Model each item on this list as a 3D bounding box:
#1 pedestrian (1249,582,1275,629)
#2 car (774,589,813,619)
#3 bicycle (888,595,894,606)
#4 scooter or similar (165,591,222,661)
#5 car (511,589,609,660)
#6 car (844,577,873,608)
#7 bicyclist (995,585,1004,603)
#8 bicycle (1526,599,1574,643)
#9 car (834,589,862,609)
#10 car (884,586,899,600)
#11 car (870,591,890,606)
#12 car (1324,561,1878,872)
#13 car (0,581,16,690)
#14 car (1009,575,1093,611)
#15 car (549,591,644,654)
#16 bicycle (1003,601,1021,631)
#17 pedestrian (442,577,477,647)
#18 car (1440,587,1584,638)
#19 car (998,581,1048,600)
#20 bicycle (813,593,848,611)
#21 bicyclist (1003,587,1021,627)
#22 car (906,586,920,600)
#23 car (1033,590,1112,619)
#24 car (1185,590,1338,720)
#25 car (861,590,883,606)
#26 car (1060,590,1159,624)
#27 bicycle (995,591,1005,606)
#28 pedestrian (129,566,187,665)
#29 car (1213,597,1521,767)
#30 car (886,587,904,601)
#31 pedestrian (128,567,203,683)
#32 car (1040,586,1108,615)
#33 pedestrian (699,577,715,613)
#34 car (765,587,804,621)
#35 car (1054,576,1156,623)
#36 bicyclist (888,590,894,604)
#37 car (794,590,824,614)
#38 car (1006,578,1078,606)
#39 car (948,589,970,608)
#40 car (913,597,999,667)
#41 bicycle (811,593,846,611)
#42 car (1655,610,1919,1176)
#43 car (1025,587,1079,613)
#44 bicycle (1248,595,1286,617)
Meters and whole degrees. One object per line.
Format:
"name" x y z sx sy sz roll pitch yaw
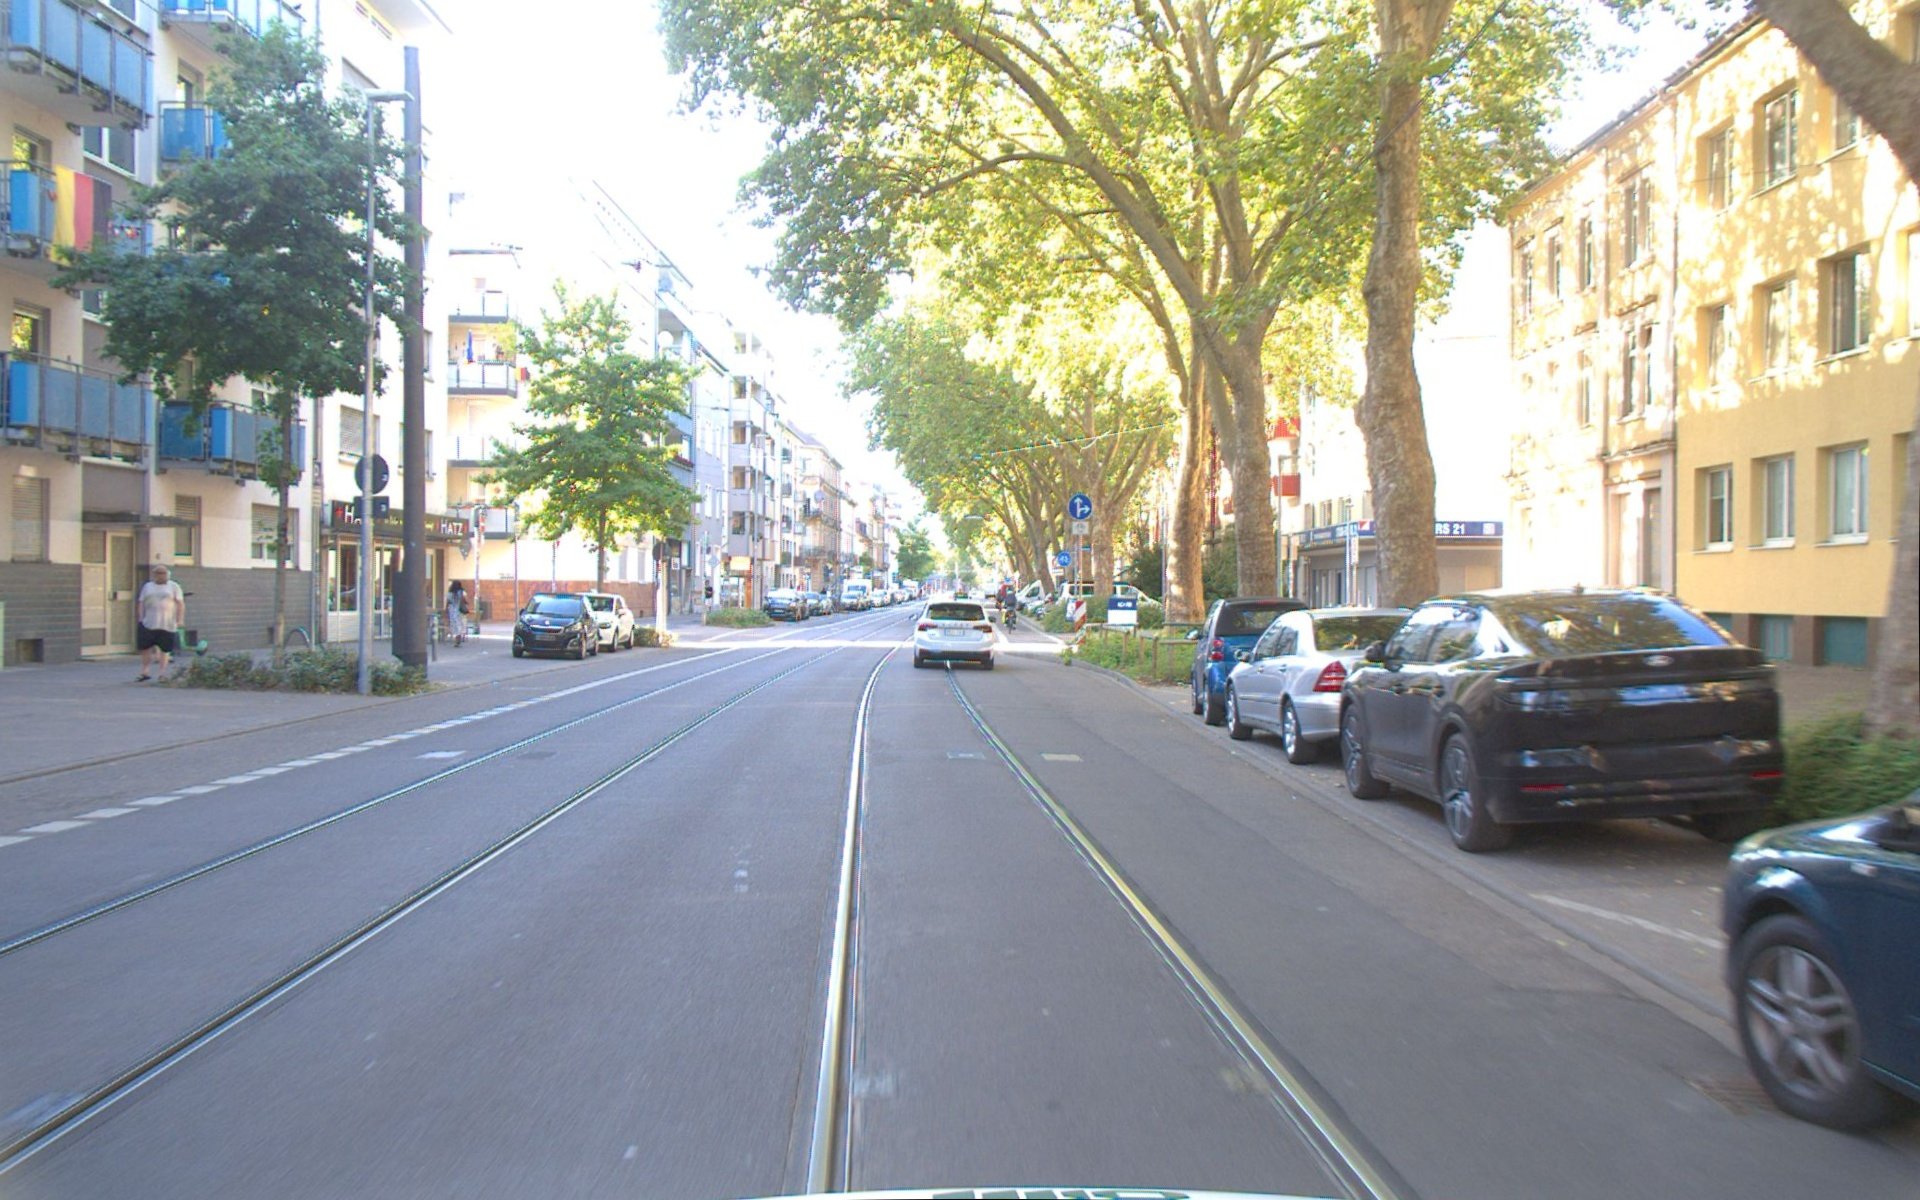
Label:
"pedestrian" 12.268 0.203 67.234 0.751 1.899 1.188 0 0 -3
"car" -9.359 0.188 93.114 1.667 1.571 4.242 3 0 0
"bicycle" -6.488 0.041 156.029 0.593 1.089 1.582 0 0 -2
"scooter or similar" -14.782 0.486 31.907 0.367 1.312 1.238 -2 0 8
"car" -9.344 0.539 38.915 1.680 1.489 3.994 3 0 -7
"car" -8.868 -0.660 144.663 2.134 2.642 4.949 0 0 0
"bicyclist" 3.032 -0.428 126.179 0.636 1.367 0.934 0 0 -2
"bicycle" 15.936 0.558 44.696 0.570 1.123 1.922 -2 0 0
"car" -9.002 -0.097 132.939 1.952 1.557 4.000 0 0 0
"car" -10.187 -1.021 246.112 1.952 2.049 4.000 0 0 0
"car" -8.615 -0.188 178.956 1.952 1.557 4.000 0 0 0
"car" 3.974 0.644 11.282 1.820 1.631 4.781 -1 -1 -1
"car" -15.215 0.449 22.232 3.932 1.501 1.851 1 0 -2
"car" 6.739 -0.539 123.014 6.006 2.681 2.528 0 0 -2
"car" -9.513 0.554 43.574 1.679 1.489 4.374 3 0 -4
"bicycle" 1.952 0.585 62.556 0.667 1.089 1.781 0 0 1
"pedestrian" -12.530 0.296 41.418 0.650 1.720 0.748 0 0 -1
"car" 18.147 0.411 54.464 4.050 1.621 1.998 0 0 -5
"car" 7.660 -1.190 201.861 6.006 2.322 2.528 0 0 -2
"bicycle" -9.526 0.141 121.791 2.476 1.193 0.718 2 -1 -6
"bicyclist" 1.947 0.263 62.551 0.664 1.468 1.047 0 0 1
"car" -7.031 -1.009 248.576 1.952 2.049 4.000 0 0 0
"car" 5.918 0.238 87.235 4.058 1.540 1.931 0 0 -1
"car" 3.840 0.677 21.439 1.531 1.545 2.911 -1 -1 2
"car" -8.810 -0.226 164.993 1.952 1.557 4.000 0 0 0
"car" 6.623 0.305 73.442 4.209 1.505 1.830 0 0 -1
"bicycle" 3.038 -0.116 126.167 0.636 1.089 1.583 0 0 -1
"pedestrian" -14.171 0.274 29.230 0.650 1.720 0.748 0 0 -1
"car" 3.946 0.741 16.901 1.780 1.461 4.600 -1 -1 -3
"car" -7.921 -0.676 200.993 1.952 1.668 4.000 1 0 0
"pedestrian" -12.003 0.372 25.011 0.748 1.720 0.794 0 0 -1
"car" 6.759 0.023 98.148 3.906 1.709 1.723 0 0 -1
"pedestrian" -13.102 -0.274 85.706 0.650 1.858 0.965 0 0 -1
"car" -9.312 0.179 88.006 1.668 1.679 4.241 3 0 -1
"car" 6.627 -0.037 76.019 4.452 2.113 2.000 0 0 -2
"bicyclist" -6.487 -0.326 156.097 0.585 1.308 0.917 0 0 -2
"car" -9.459 0.141 103.961 1.620 1.462 3.836 0 0 -1
"car" 6.981 -0.694 141.635 6.006 2.322 2.528 0 0 -2
"car" -0.078 -0.119 133.492 1.725 1.501 4.000 0 0 1
"car" -0.115 0.646 35.551 1.726 1.408 3.999 0 0 -1
"bicycle" -9.593 0.141 120.909 2.508 1.193 0.871 3 -2 -40
"car" 3.471 0.778 3.757 1.827 1.462 4.224 -1 0 -3
"car" 6.161 -0.012 110.763 3.558 1.695 1.823 0 0 2
"bicycle" 15.491 0.319 83.393 1.756 1.060 0.617 -2 0 -4
